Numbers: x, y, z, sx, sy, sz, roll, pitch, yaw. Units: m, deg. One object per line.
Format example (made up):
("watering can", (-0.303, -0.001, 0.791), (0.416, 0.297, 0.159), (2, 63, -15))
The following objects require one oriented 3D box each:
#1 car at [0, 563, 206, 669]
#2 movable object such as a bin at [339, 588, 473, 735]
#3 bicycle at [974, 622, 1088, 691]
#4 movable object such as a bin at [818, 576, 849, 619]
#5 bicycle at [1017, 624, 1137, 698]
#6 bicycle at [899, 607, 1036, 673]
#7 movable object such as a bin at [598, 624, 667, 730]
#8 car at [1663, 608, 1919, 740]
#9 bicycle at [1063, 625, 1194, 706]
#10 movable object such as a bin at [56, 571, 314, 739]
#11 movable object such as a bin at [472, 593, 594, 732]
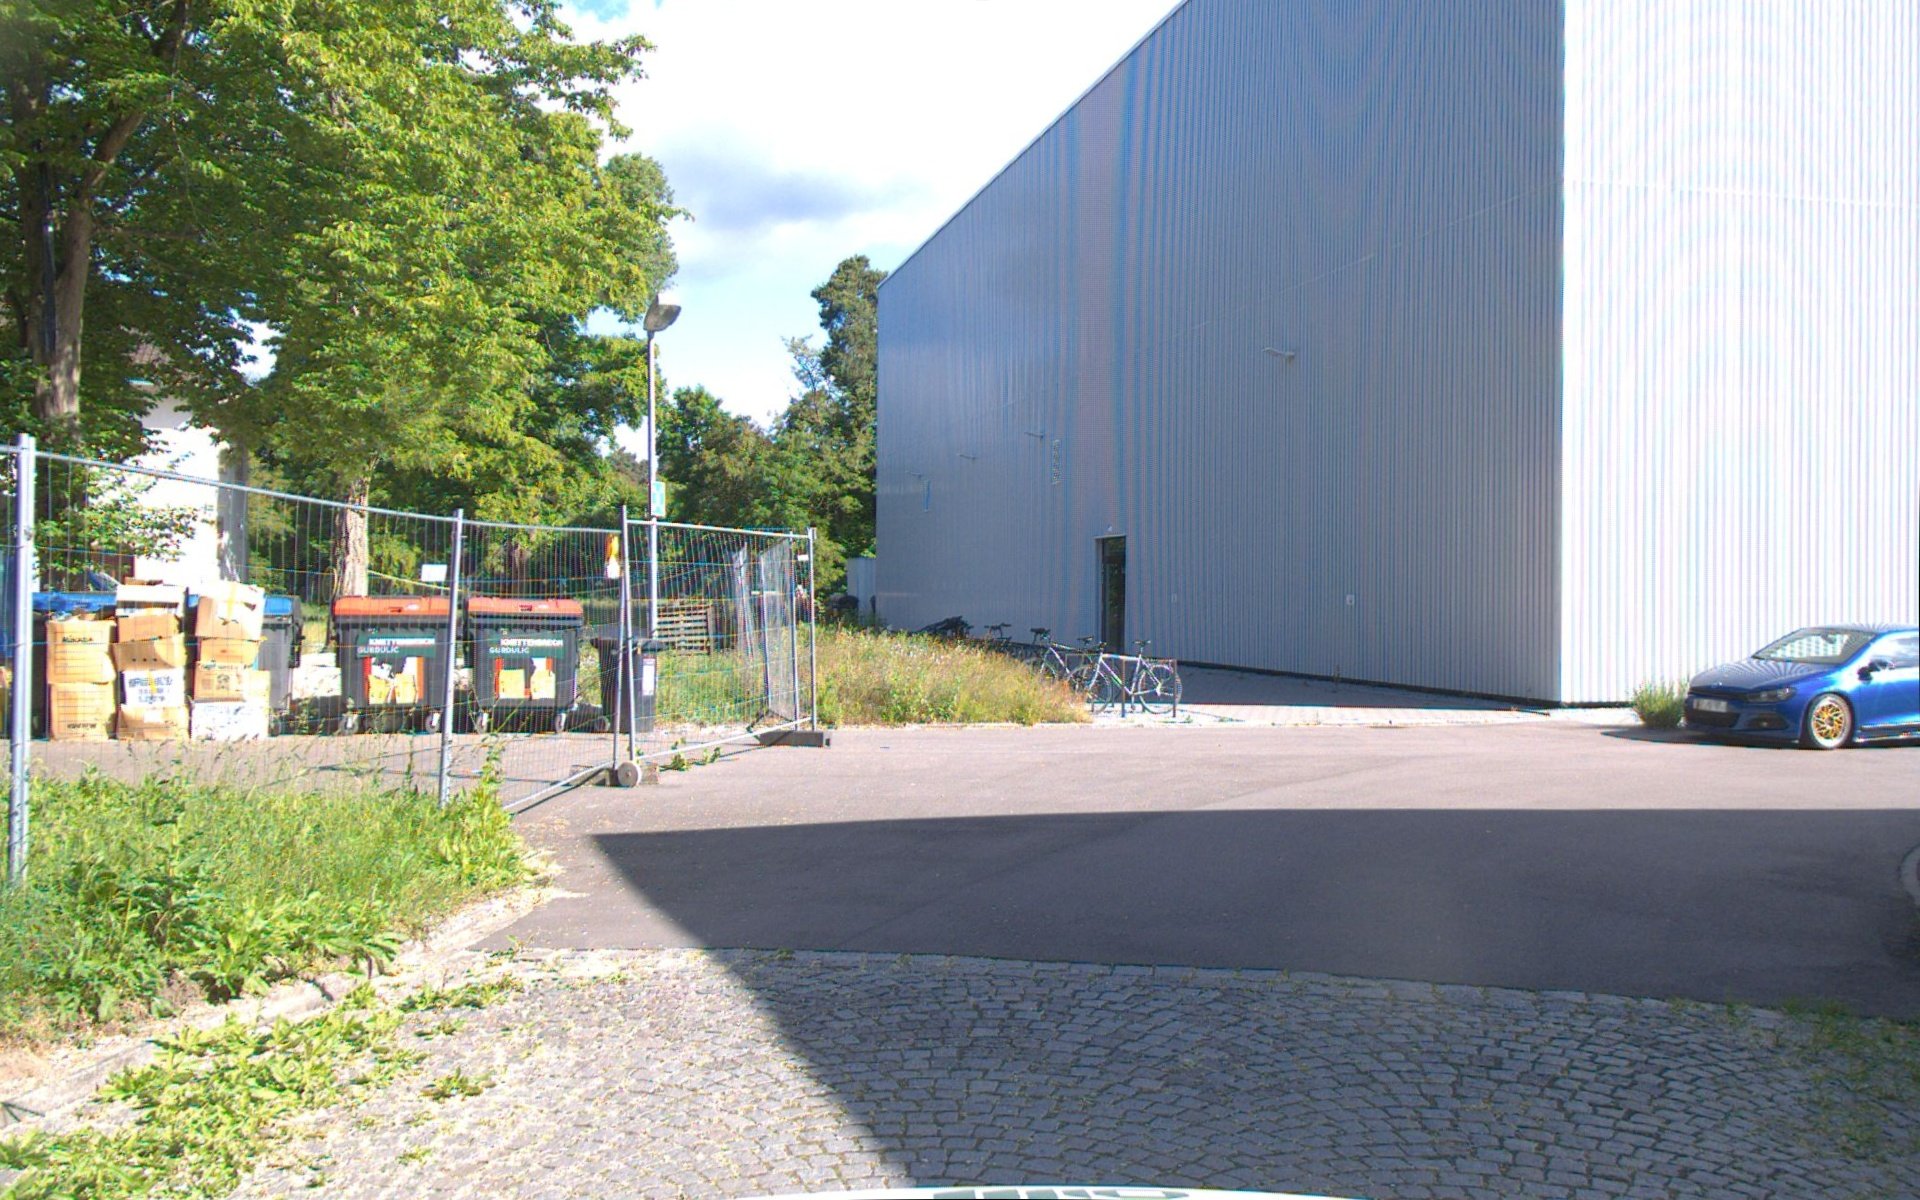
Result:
("car", (-17.291, 0.306, 32.047), (4.639, 1.935, 1.989), (-1, 0, -19))
("movable object such as a bin", (-5.914, 0.631, 17.636), (1.318, 1.510, 0.802), (0, 0, -21))
("bicycle", (1.188, 0.936, 27.718), (1.857, 1.114, 0.523), (0, -1, -16))
("movable object such as a bin", (-6.055, -0.107, 79.063), (1.393, 2.049, 1.122), (0, 0, -10))
("bicycle", (1.784, 0.916, 25.246), (1.761, 1.101, 0.523), (0, 0, -13))
("bicycle", (0.136, 0.788, 33.237), (2.583, 1.288, 1.138), (0, 0, -11))
("movable object such as a bin", (-3.588, 0.833, 18.159), (0.723, 1.117, 0.817), (0, 0, -11))
("car", (10.423, 0.812, 19.331), (3.876, 1.373, 1.667), (0, 2, -16))
("bicycle", (2.317, 0.886, 22.737), (1.772, 1.080, 0.457), (0, 0, -20))
("movable object such as a bin", (-7.808, 0.529, 16.821), (2.255, 1.619, 1.167), (0, 0, -21))
("movable object such as a bin", (-4.652, 0.662, 18.014), (1.226, 1.470, 0.698), (0, 0, -20))
